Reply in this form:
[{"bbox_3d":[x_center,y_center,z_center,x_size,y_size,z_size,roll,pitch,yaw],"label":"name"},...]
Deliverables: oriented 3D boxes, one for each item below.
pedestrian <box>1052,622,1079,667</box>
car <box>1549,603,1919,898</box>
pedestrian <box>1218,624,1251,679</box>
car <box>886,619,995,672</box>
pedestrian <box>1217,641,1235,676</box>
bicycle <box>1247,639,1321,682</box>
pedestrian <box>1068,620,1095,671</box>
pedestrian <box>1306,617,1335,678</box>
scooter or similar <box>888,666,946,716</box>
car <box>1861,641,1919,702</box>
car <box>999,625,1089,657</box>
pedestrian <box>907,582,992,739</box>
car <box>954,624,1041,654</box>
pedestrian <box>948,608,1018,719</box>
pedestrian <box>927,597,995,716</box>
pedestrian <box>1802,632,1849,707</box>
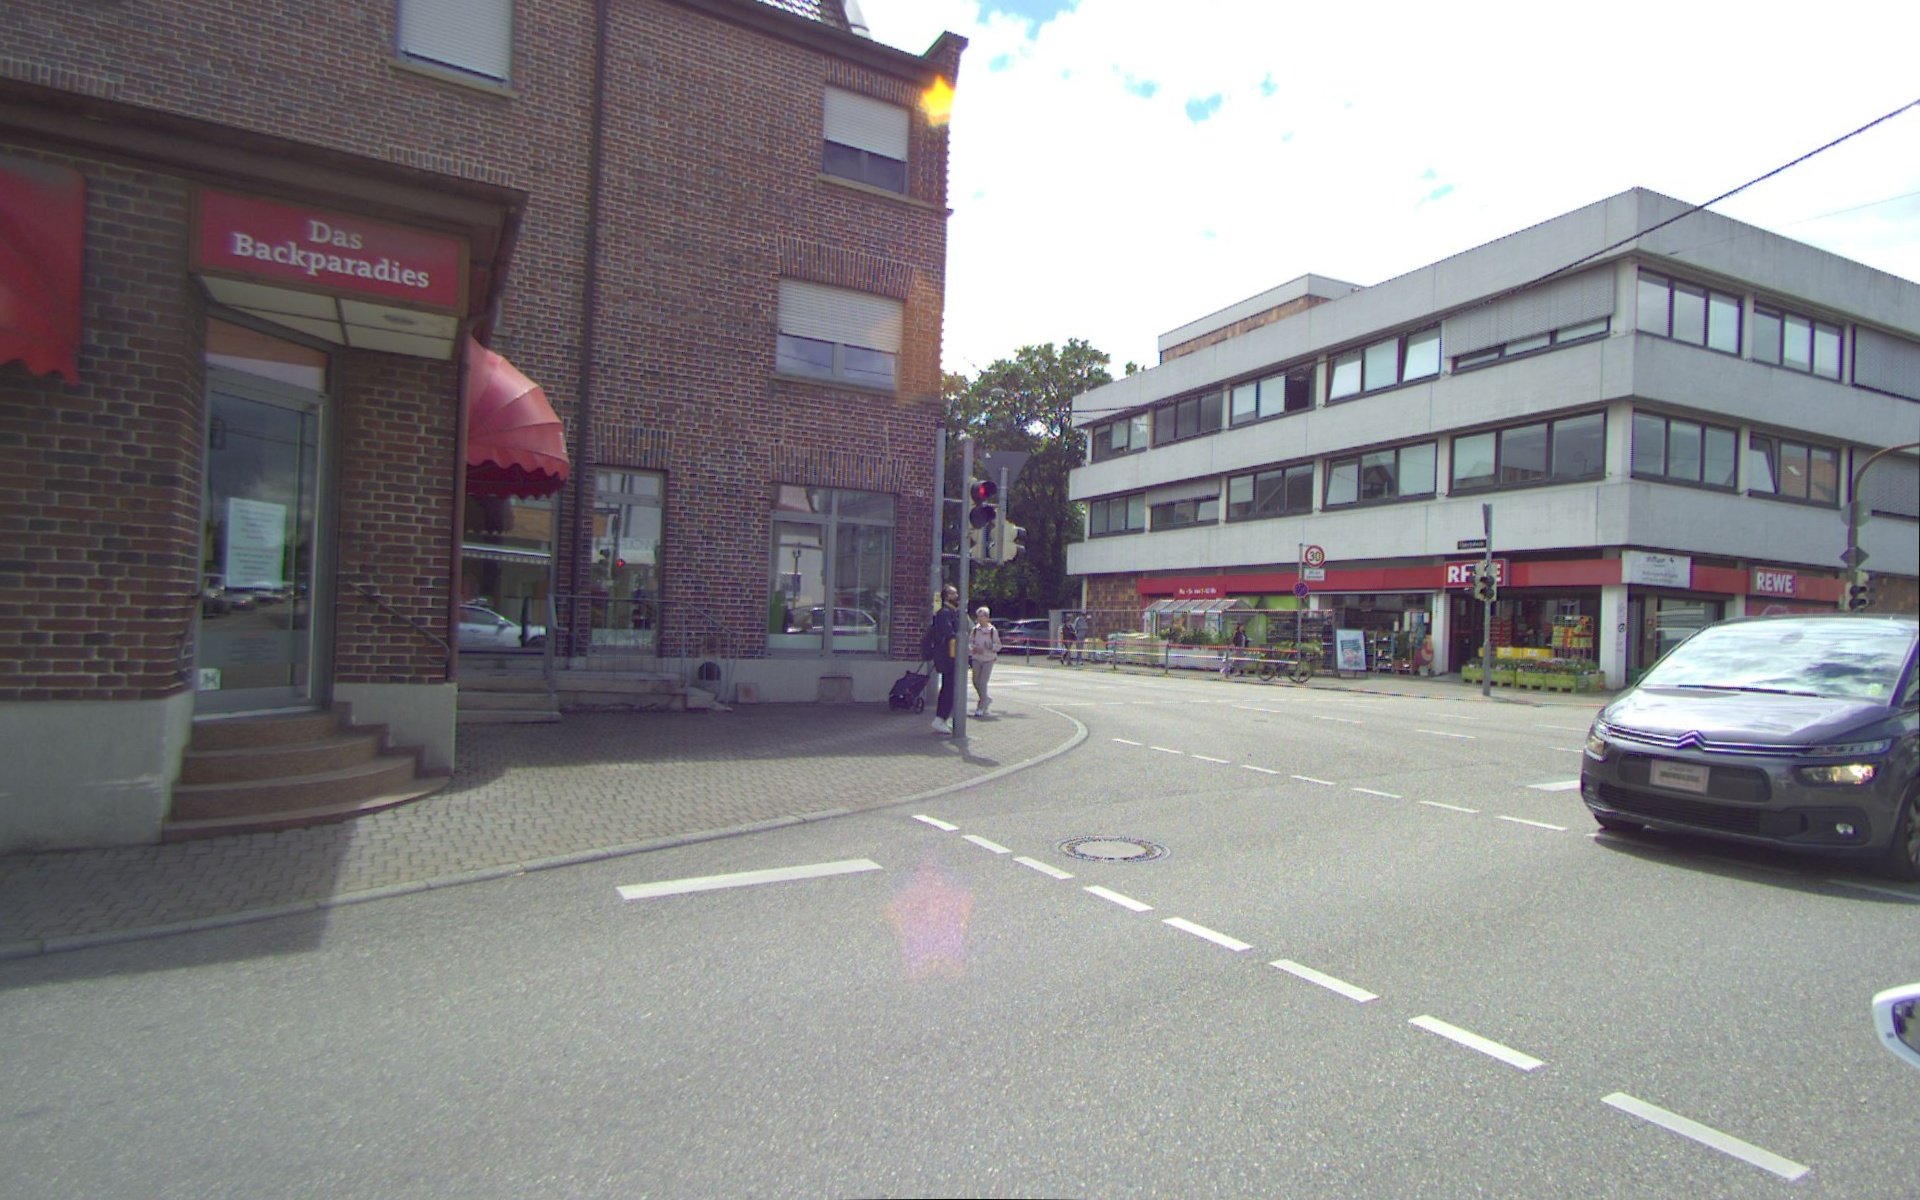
[{"bbox_3d":[3.842,1.618,36.580,0.671,1.598,0.727,2,-2,-37],"label":"pedestrian"},{"bbox_3d":[6.287,0.872,7.323,4.055,1.610,1.780,1,-1,-32],"label":"car"},{"bbox_3d":[8.385,1.567,30.712,0.712,1.618,0.695,3,-1,34],"label":"pedestrian"},{"bbox_3d":[-0.701,1.414,32.329,1.898,1.595,3.970,2,-2,-29],"label":"car"},{"bbox_3d":[8.011,1.763,30.269,0.357,1.018,0.384,3,-1,35],"label":"pedestrian"},{"bbox_3d":[9.024,1.668,28.040,0.769,1.157,1.867,3,-3,-39],"label":"bicycle"},{"bbox_3d":[4.512,1.671,37.263,0.671,1.860,0.727,2,-1,-37],"label":"pedestrian"},{"bbox_3d":[11.028,1.445,30.716,0.612,1.799,0.554,3,-1,35],"label":"pedestrian"},{"bbox_3d":[-0.593,1.260,14.032,0.374,0.654,0.807,-1,-3,37],"label":"scooter or similar"},{"bbox_3d":[25.891,1.906,26.481,4.033,1.484,1.779,3,0,-26],"label":"car"},{"bbox_3d":[3.821,1.857,45.745,3.669,1.338,1.776,2,-1,-20],"label":"car"},{"bbox_3d":[-0.127,0.722,12.112,0.712,1.820,0.622,4,-1,-32],"label":"pedestrian"},{"bbox_3d":[1.764,1.855,47.464,3.669,1.339,1.776,2,-1,-20],"label":"car"},{"bbox_3d":[0.323,0.891,14.165,0.753,1.504,0.521,4,-1,-32],"label":"pedestrian"},{"bbox_3d":[0.018,0.814,14.616,0.753,1.680,0.521,4,-1,-32],"label":"pedestrian"},{"bbox_3d":[19.636,1.566,22.798,0.652,1.663,0.616,2,-1,-28],"label":"pedestrian"}]
